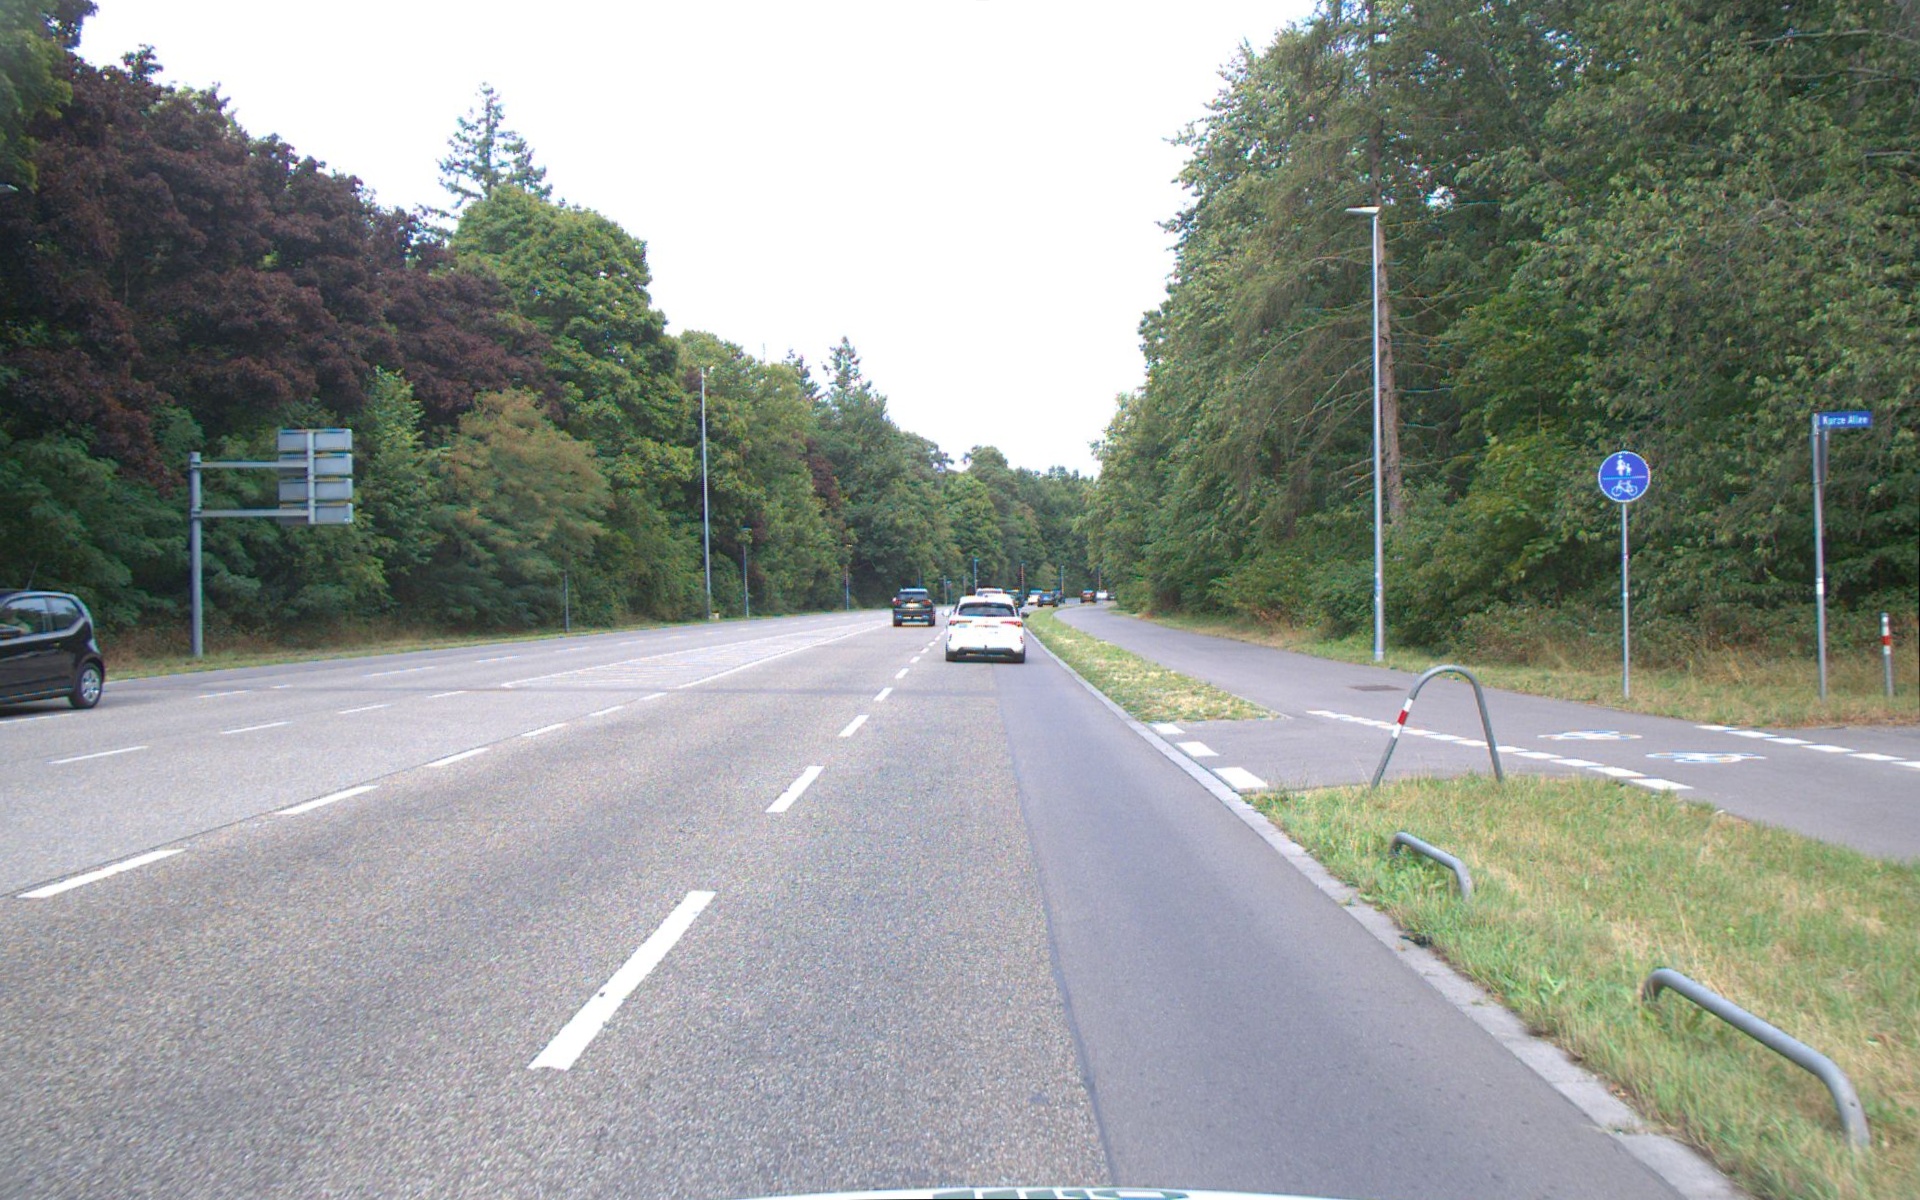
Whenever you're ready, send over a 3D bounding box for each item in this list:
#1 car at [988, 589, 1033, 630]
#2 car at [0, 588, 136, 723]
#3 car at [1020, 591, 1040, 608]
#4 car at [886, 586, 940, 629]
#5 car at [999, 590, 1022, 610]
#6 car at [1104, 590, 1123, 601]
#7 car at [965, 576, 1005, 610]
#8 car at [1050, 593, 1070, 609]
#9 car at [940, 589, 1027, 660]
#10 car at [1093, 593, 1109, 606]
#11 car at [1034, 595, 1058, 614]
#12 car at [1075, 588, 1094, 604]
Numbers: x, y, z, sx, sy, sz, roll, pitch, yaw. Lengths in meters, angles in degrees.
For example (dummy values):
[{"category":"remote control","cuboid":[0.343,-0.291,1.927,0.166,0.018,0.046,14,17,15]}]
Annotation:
[{"category":"car","cuboid":[1.904,0.375,62.474,1.601,1.445,4.000,2,-1,1]},{"category":"car","cuboid":[-11.513,0.611,19.323,1.705,1.501,4.000,1,-1,1]},{"category":"car","cuboid":[7.670,-0.040,180.403,1.951,1.814,4.002,2,-1,5]},{"category":"car","cuboid":[-2.047,0.336,73.094,1.951,1.818,4.002,-1,-1,4]},{"category":"car","cuboid":[4.880,-0.023,160.091,1.951,1.814,4.002,2,-1,5]},{"category":"car","cuboid":[21.630,-0.618,232.855,1.951,1.434,4.003,2,-1,15]},{"category":"car","cuboid":[1.285,-0.352,87.483,1.953,1.635,3.999,2,0,-1]},{"category":"car","cuboid":[11.969,0.123,196.958,1.951,1.814,4.003,2,-1,9]},{"category":"car","cuboid":[0.580,0.537,37.210,1.798,1.435,4.491,2,-1,2]},{"category":"car","cuboid":[21.084,-0.045,247.056,1.848,1.847,4.003,2,-1,13]},{"category":"car","cuboid":[8.465,0.464,162.163,1.951,1.814,4.003,2,-1,8]},{"category":"car","cuboid":[15.583,-0.488,206.805,1.951,1.814,4.003,2,-1,9]}]
